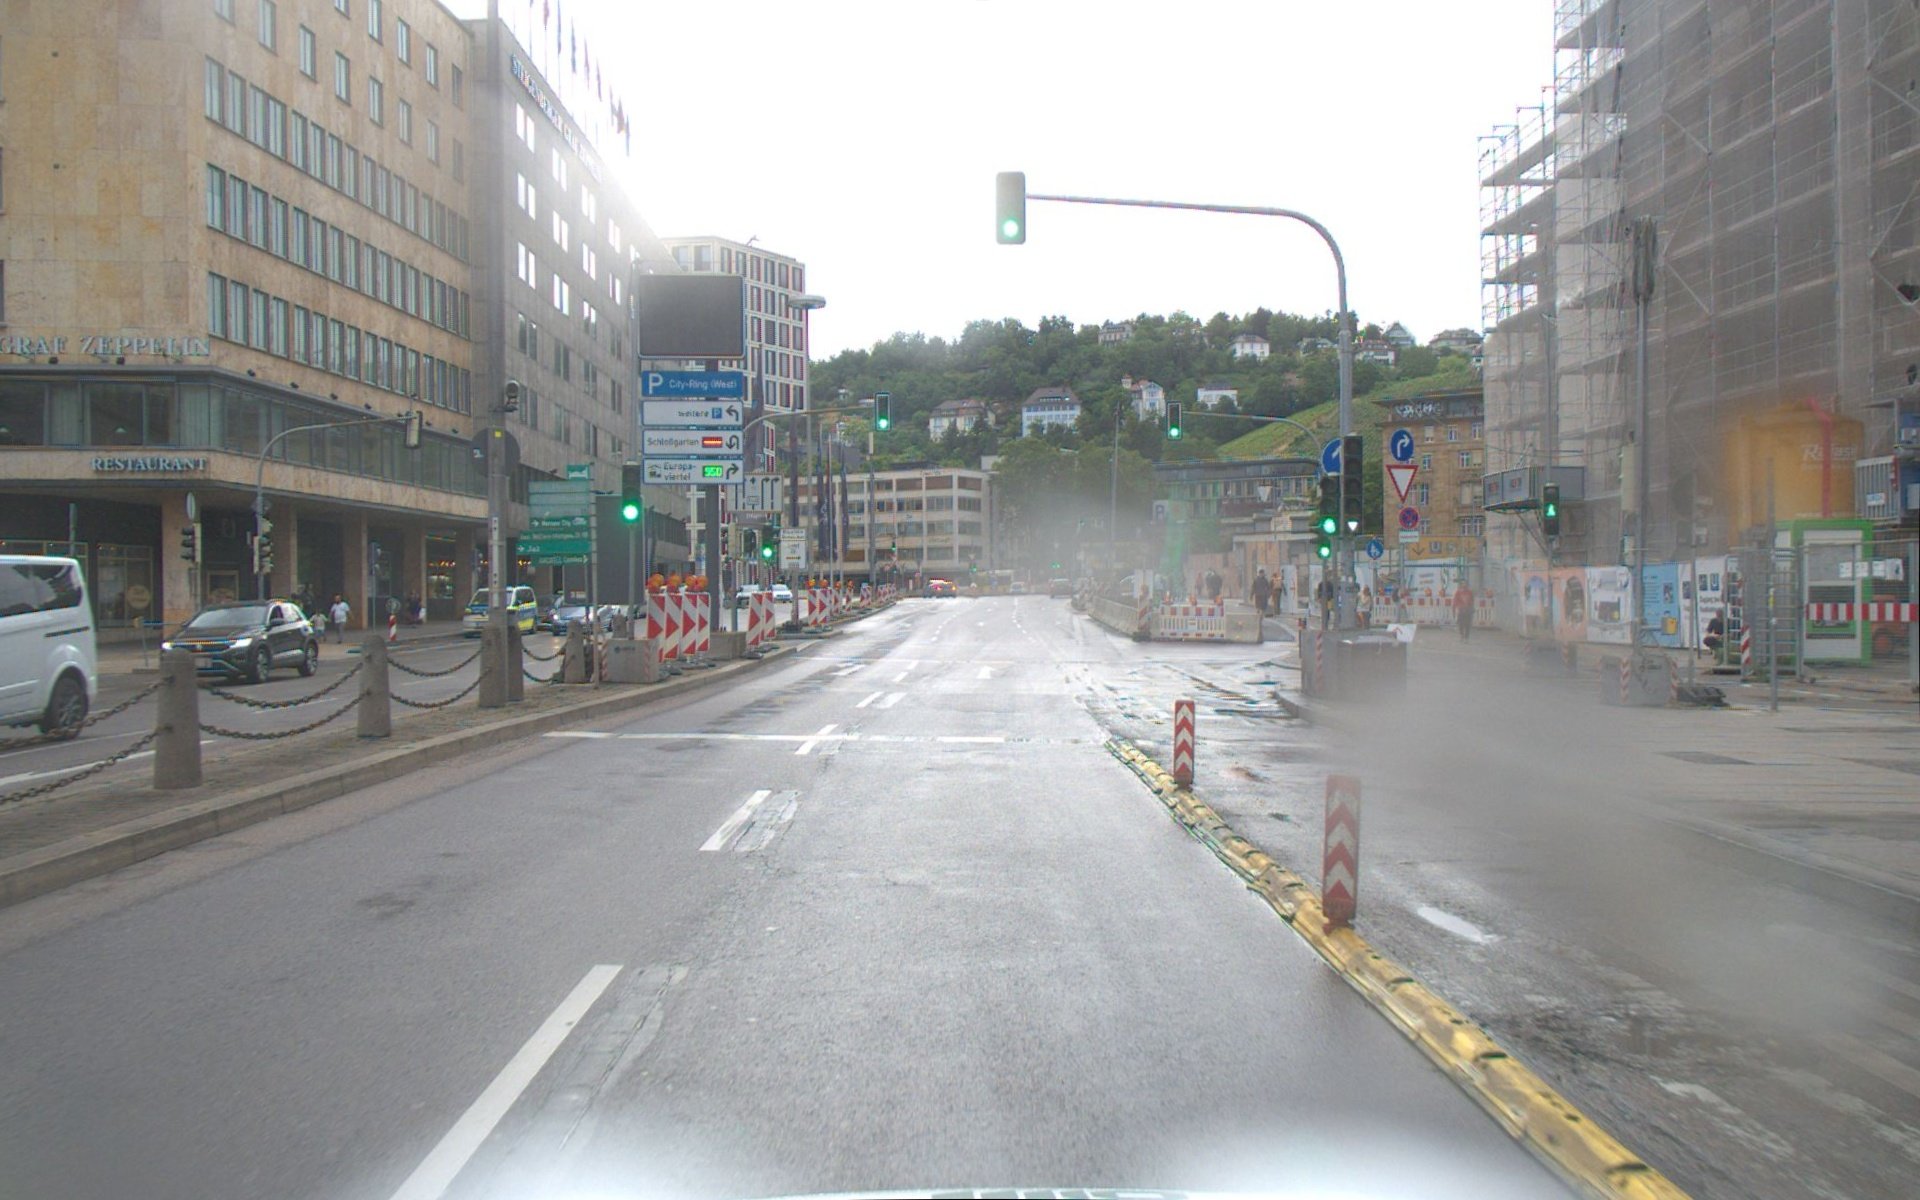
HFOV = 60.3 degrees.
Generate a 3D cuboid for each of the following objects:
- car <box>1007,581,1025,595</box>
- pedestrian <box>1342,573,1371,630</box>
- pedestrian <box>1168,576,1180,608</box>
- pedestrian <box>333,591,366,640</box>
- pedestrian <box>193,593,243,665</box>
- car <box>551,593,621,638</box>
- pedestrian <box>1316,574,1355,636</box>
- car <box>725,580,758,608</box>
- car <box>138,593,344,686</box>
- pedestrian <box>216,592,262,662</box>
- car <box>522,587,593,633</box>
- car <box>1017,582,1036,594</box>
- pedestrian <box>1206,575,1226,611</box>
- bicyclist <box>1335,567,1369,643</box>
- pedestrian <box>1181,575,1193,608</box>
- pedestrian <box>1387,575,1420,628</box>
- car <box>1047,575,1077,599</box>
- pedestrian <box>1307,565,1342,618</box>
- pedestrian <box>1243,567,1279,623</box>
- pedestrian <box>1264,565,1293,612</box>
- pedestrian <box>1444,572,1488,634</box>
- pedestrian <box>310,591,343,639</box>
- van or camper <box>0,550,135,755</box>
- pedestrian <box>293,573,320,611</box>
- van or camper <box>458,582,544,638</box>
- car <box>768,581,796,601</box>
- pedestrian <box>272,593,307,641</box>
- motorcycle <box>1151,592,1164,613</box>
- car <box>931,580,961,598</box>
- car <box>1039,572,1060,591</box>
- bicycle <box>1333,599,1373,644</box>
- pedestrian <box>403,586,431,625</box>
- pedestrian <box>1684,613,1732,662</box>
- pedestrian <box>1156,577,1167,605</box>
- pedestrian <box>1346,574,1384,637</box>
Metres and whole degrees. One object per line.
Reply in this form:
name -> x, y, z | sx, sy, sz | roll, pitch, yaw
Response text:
car -> 6.224, -1.379, 184.633 | 1.782, 1.467, 3.999 | 1, 1, -1
pedestrian -> 13.385, 0.046, 55.839 | 0.846, 1.873, 0.798 | -1, 0, 10
pedestrian -> 12.420, -0.459, 95.985 | 0.673, 1.873, 0.615 | -1, 0, 5
pedestrian -> -20.320, 0.508, 55.053 | 0.706, 1.584, 0.895 | -1, 0, 1
pedestrian -> -17.863, 0.698, 39.822 | 0.815, 1.701, 0.704 | -1, 0, 13
car -> -14.459, 0.577, 64.083 | 1.732, 1.637, 4.226 | -1, 0, 0
pedestrian -> 10.070, 0.142, 44.352 | 0.779, 1.636, 0.834 | -1, 0, 28
car -> -16.638, -0.448, 126.040 | 1.952, 2.049, 4.000 | -1, 0, 0
car -> -13.961, 0.714, 32.430 | 1.952, 1.645, 4.576 | -1, 0, 1
pedestrian -> -17.729, 0.663, 40.667 | 0.742, 1.701, 0.698 | -1, 0, 13
car -> -17.197, 0.390, 70.827 | 1.952, 1.870, 4.000 | -1, 0, 1
car -> 7.974, -1.456, 198.008 | 1.953, 1.467, 3.999 | 1, 1, -2
pedestrian -> 13.279, -0.370, 85.730 | 0.926, 1.873, 0.868 | -1, 0, 6
bicyclist -> 9.856, 0.120, 41.586 | 0.688, 1.877, 0.968 | 0, 0, 4
pedestrian -> 13.169, -0.496, 95.961 | 0.673, 1.873, 0.615 | -1, 0, 5
pedestrian -> 14.508, 0.040, 54.144 | 0.846, 1.690, 0.797 | -1, 0, 2
car -> 7.726, -0.993, 125.845 | 1.953, 1.736, 3.999 | -1, 0, -1
pedestrian -> 13.084, -0.308, 59.439 | 0.852, 1.873, 0.943 | -1, 0, 43
pedestrian -> 10.339, -0.166, 56.819 | 0.929, 1.873, 0.945 | -1, 0, 30
pedestrian -> 12.649, -0.454, 65.742 | 0.927, 1.873, 0.867 | -1, 0, -3
pedestrian -> 13.551, 0.082, 44.316 | 0.754, 1.636, 0.860 | -1, 0, -15
pedestrian -> -21.114, 0.491, 55.099 | 0.706, 1.584, 0.905 | -1, 0, 1
van or camper -> -10.562, 0.531, 16.561 | 1.952, 2.049, 5.189 | -1, 0, 0
pedestrian -> -26.623, -0.322, 67.355 | 0.778, 1.553, 0.717 | -1, 0, 2
van or camper -> -17.803, 0.380, 64.402 | 1.953, 2.049, 4.965 | -1, 0, -1
car -> -15.183, -0.789, 141.294 | 1.952, 1.646, 4.000 | -1, 0, 1
pedestrian -> -22.340, 0.560, 55.147 | 0.706, 1.584, 1.005 | -1, 0, 1
motorcycle -> 7.022, 0.072, 58.915 | 0.363, 0.734, 0.922 | 1, 1, 2
car -> -1.298, -0.977, 149.233 | 1.958, 1.579, 3.989 | -1, 0, -11
car -> 8.261, -1.709, 152.882 | 1.739, 1.668, 4.000 | -2, 0, 1
bicycle -> 9.857, 0.528, 41.502 | 0.692, 1.068, 1.807 | 0, 1, 4
pedestrian -> -22.041, 0.234, 67.130 | 0.778, 1.553, 0.916 | -1, 0, 2
pedestrian -> 15.013, 0.757, 33.218 | 0.778, 0.957, 0.718 | -1, 0, 18
pedestrian -> 13.429, -0.595, 110.252 | 0.673, 1.873, 0.615 | -1, 0, 5
pedestrian -> 10.769, 0.144, 43.948 | 0.779, 1.636, 0.834 | -1, 0, 29
